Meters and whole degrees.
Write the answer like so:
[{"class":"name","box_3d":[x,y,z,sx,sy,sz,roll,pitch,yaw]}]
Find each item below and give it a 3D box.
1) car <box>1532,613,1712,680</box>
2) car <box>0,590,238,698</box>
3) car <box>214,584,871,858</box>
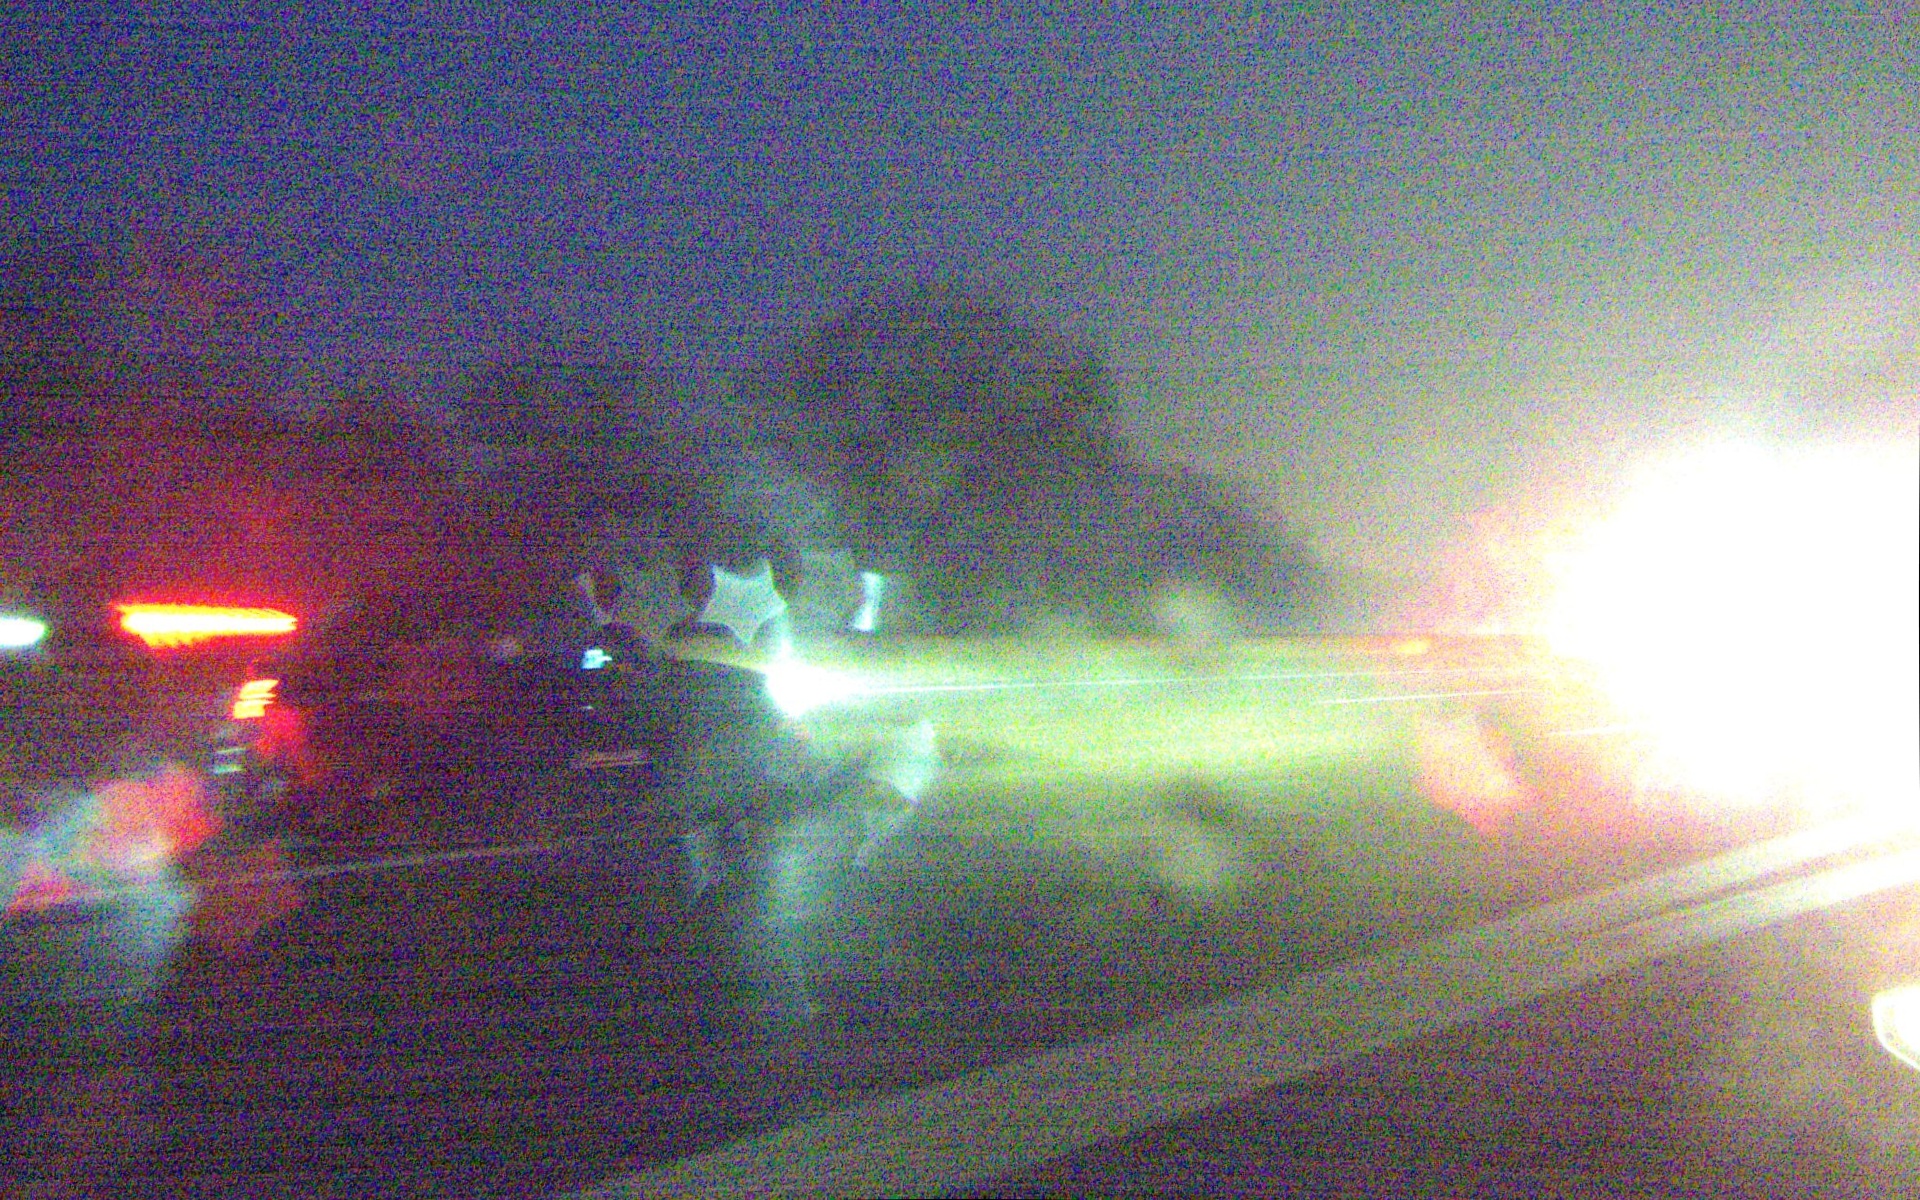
[{"class":"car","box_3d":[17.048,1.166,25.799,5.110,1.496,1.982,2,1,-33]},{"class":"car","box_3d":[-16.044,0.790,18.789,3.956,1.832,1.893,2,1,-32]},{"class":"car","box_3d":[-2.876,0.689,7.342,3.957,1.460,1.982,2,1,-33]}]
